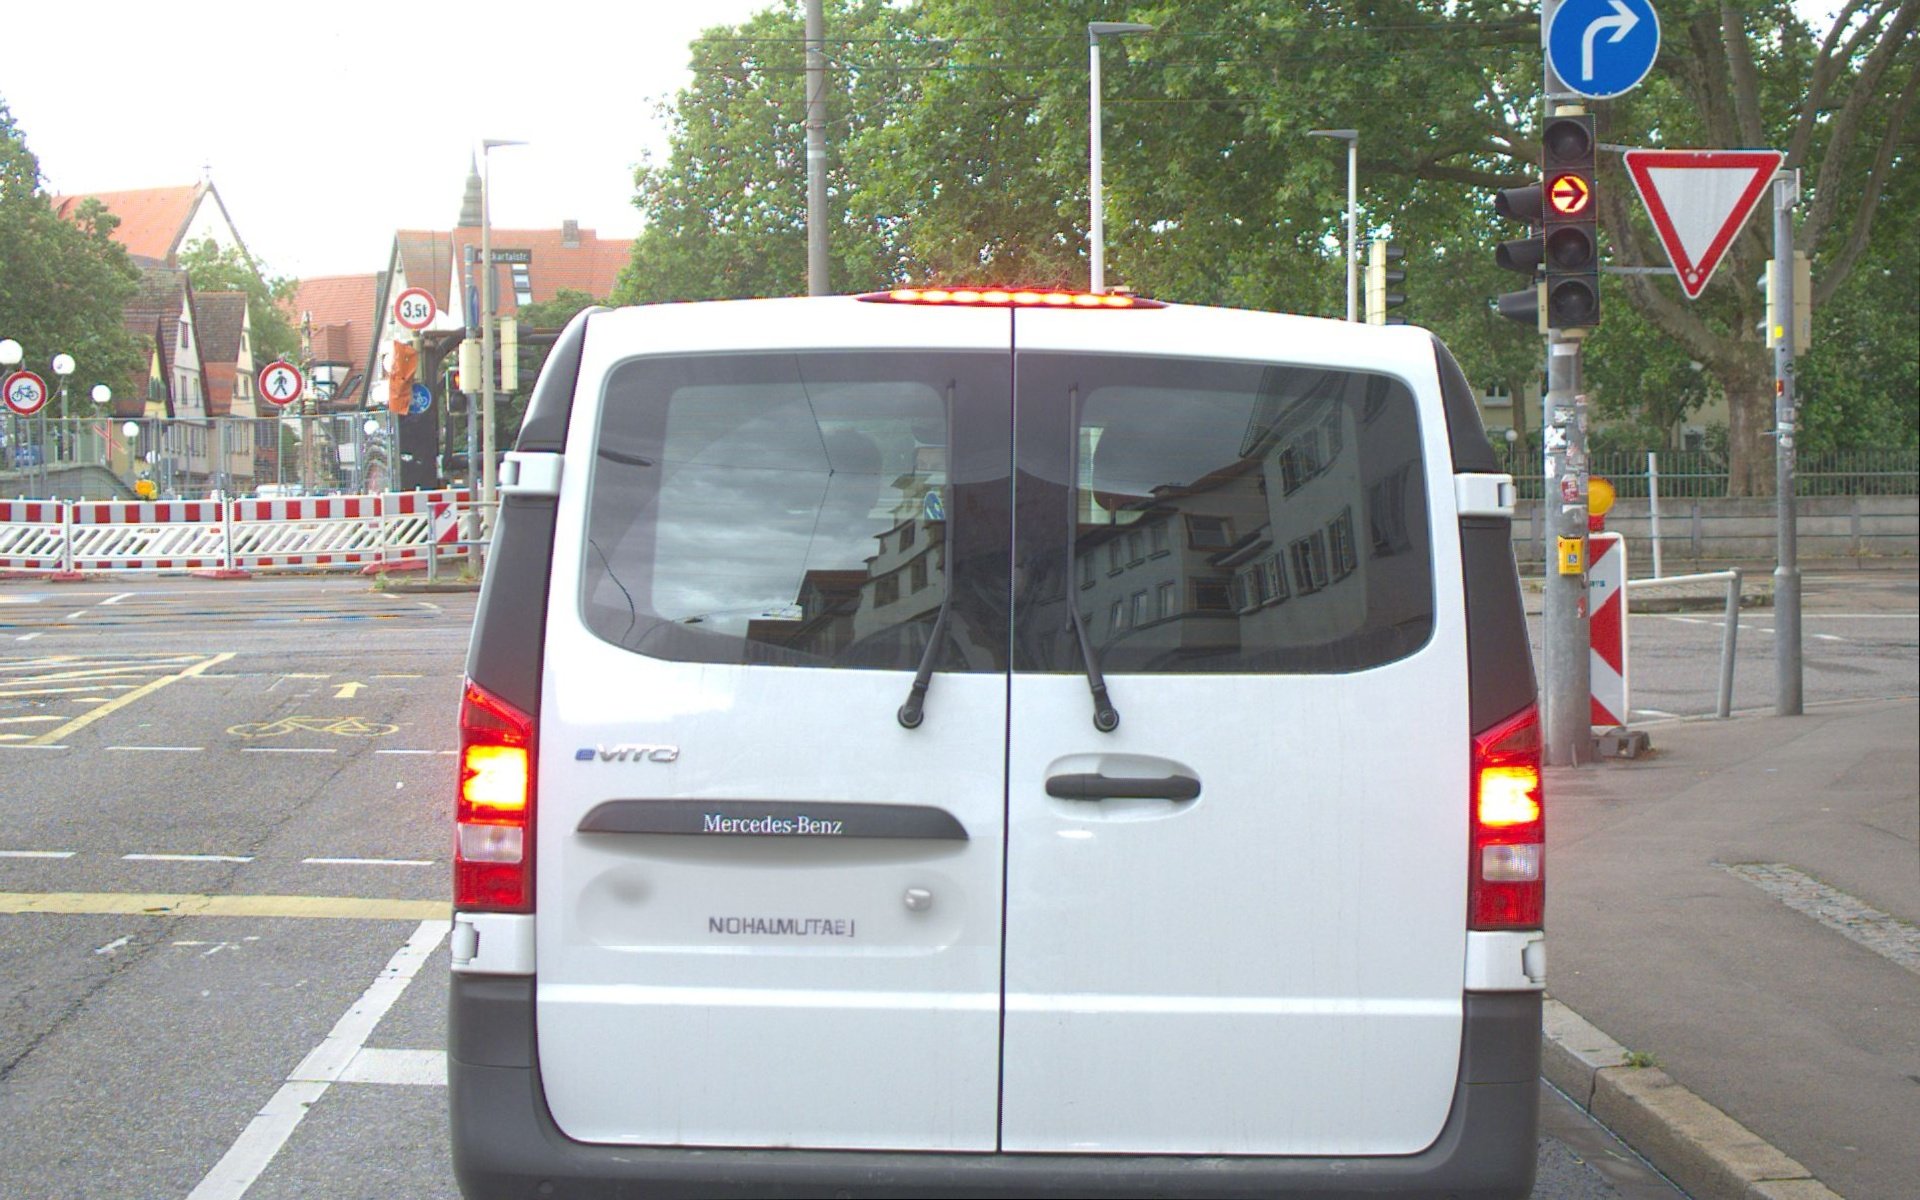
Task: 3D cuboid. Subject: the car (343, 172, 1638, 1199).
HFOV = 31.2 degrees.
[{"bbox_3d":[0.014,0.271,7.592,1.951,2.006,4.699,1,2,-1],"label":"car"}]
